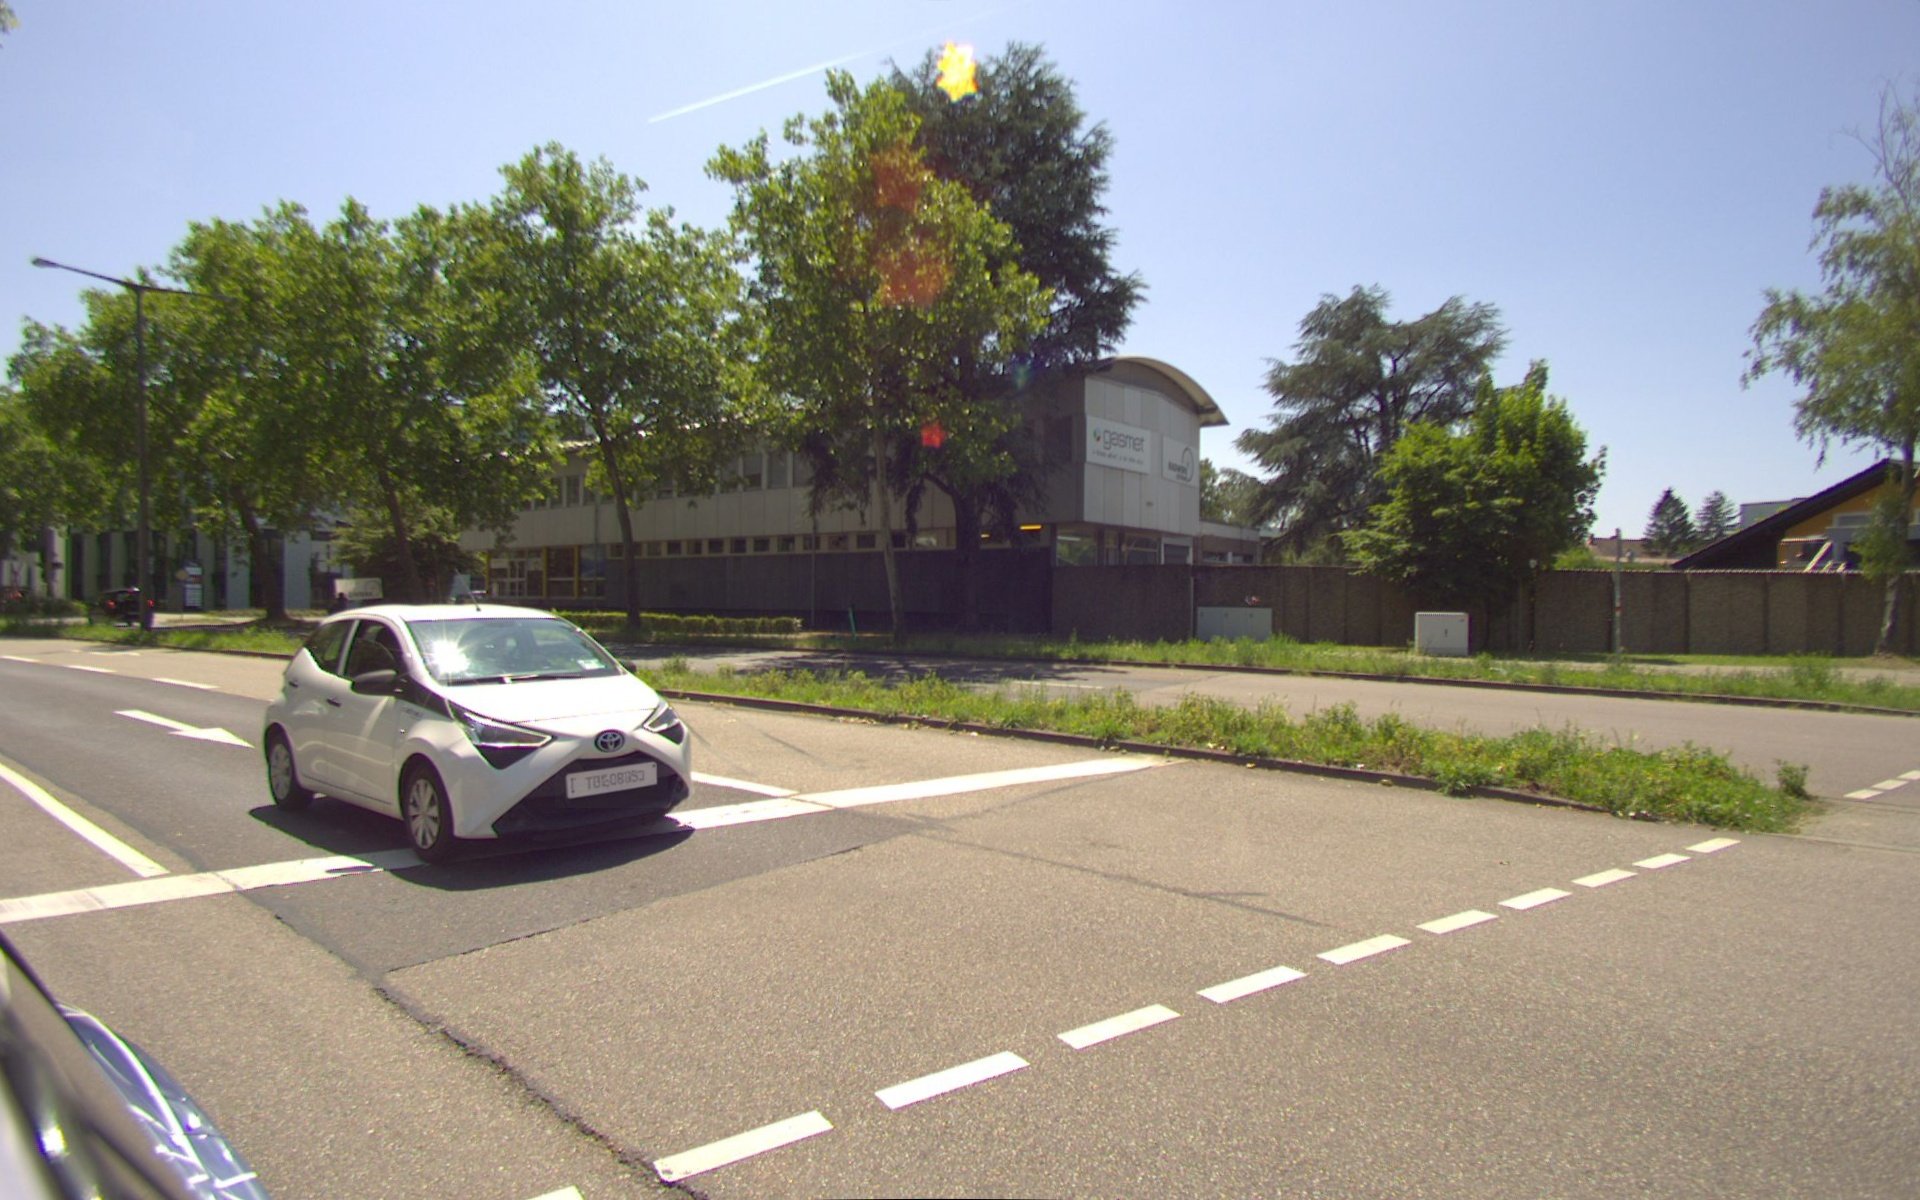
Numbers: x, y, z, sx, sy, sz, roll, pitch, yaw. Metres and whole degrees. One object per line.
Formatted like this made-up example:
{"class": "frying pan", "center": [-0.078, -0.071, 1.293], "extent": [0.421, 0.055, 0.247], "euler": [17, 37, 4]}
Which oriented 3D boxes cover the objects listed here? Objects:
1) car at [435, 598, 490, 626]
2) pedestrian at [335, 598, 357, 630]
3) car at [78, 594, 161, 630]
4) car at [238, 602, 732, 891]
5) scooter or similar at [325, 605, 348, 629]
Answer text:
{"class": "car", "center": [-31.632, 0.734, 64.323], "extent": [3.524, 1.659, 1.798], "euler": [0, 2, 39]}
{"class": "pedestrian", "center": [-30.438, 0.666, 50.166], "extent": [0.788, 1.572, 0.637], "euler": [0, 0, 30]}
{"class": "car", "center": [-40.704, 0.568, 48.965], "extent": [4.431, 1.692, 1.896], "euler": [0, 0, 33]}
{"class": "car", "center": [-3.350, 0.745, 6.876], "extent": [3.647, 1.456, 1.603], "euler": [0, 0, 39]}
{"class": "scooter or similar", "center": [-31.160, 0.854, 50.588], "extent": [0.856, 1.172, 0.673], "euler": [0, 0, 30]}
